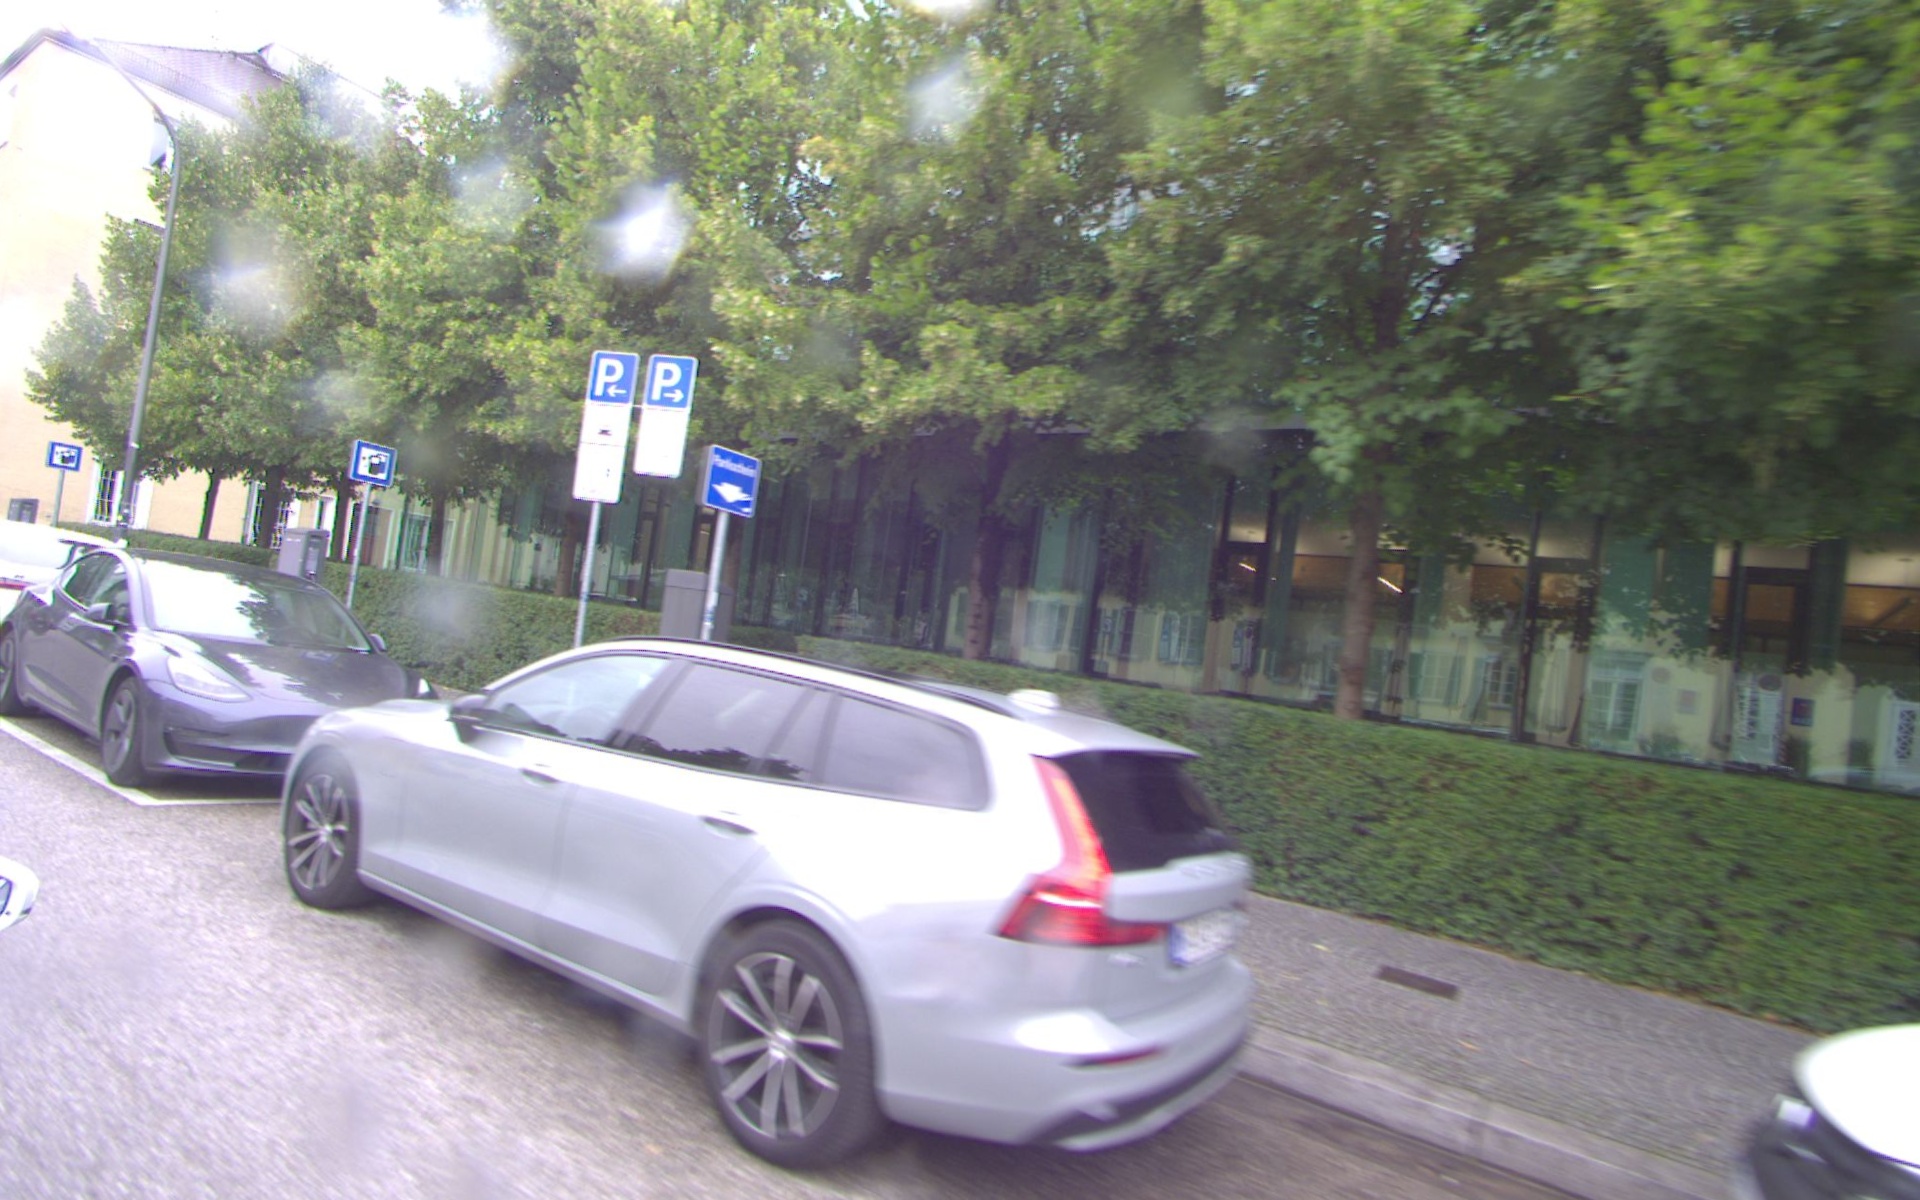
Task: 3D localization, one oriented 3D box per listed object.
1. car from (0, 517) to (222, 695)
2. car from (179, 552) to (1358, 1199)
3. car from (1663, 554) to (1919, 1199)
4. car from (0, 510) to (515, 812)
[{"bbox_3d":[-10.239,-0.117,10.770,4.876,1.475,1.999,6,-4,33],"label":"car"},{"bbox_3d":[-1.125,0.889,4.390,4.924,1.569,1.952,6,-4,33],"label":"car"},{"bbox_3d":[3.778,1.175,1.312,4.502,1.915,1.788,6,-4,35],"label":"car"},{"bbox_3d":[-5.797,0.339,7.784,4.774,1.569,1.966,6,-4,35],"label":"car"}]
